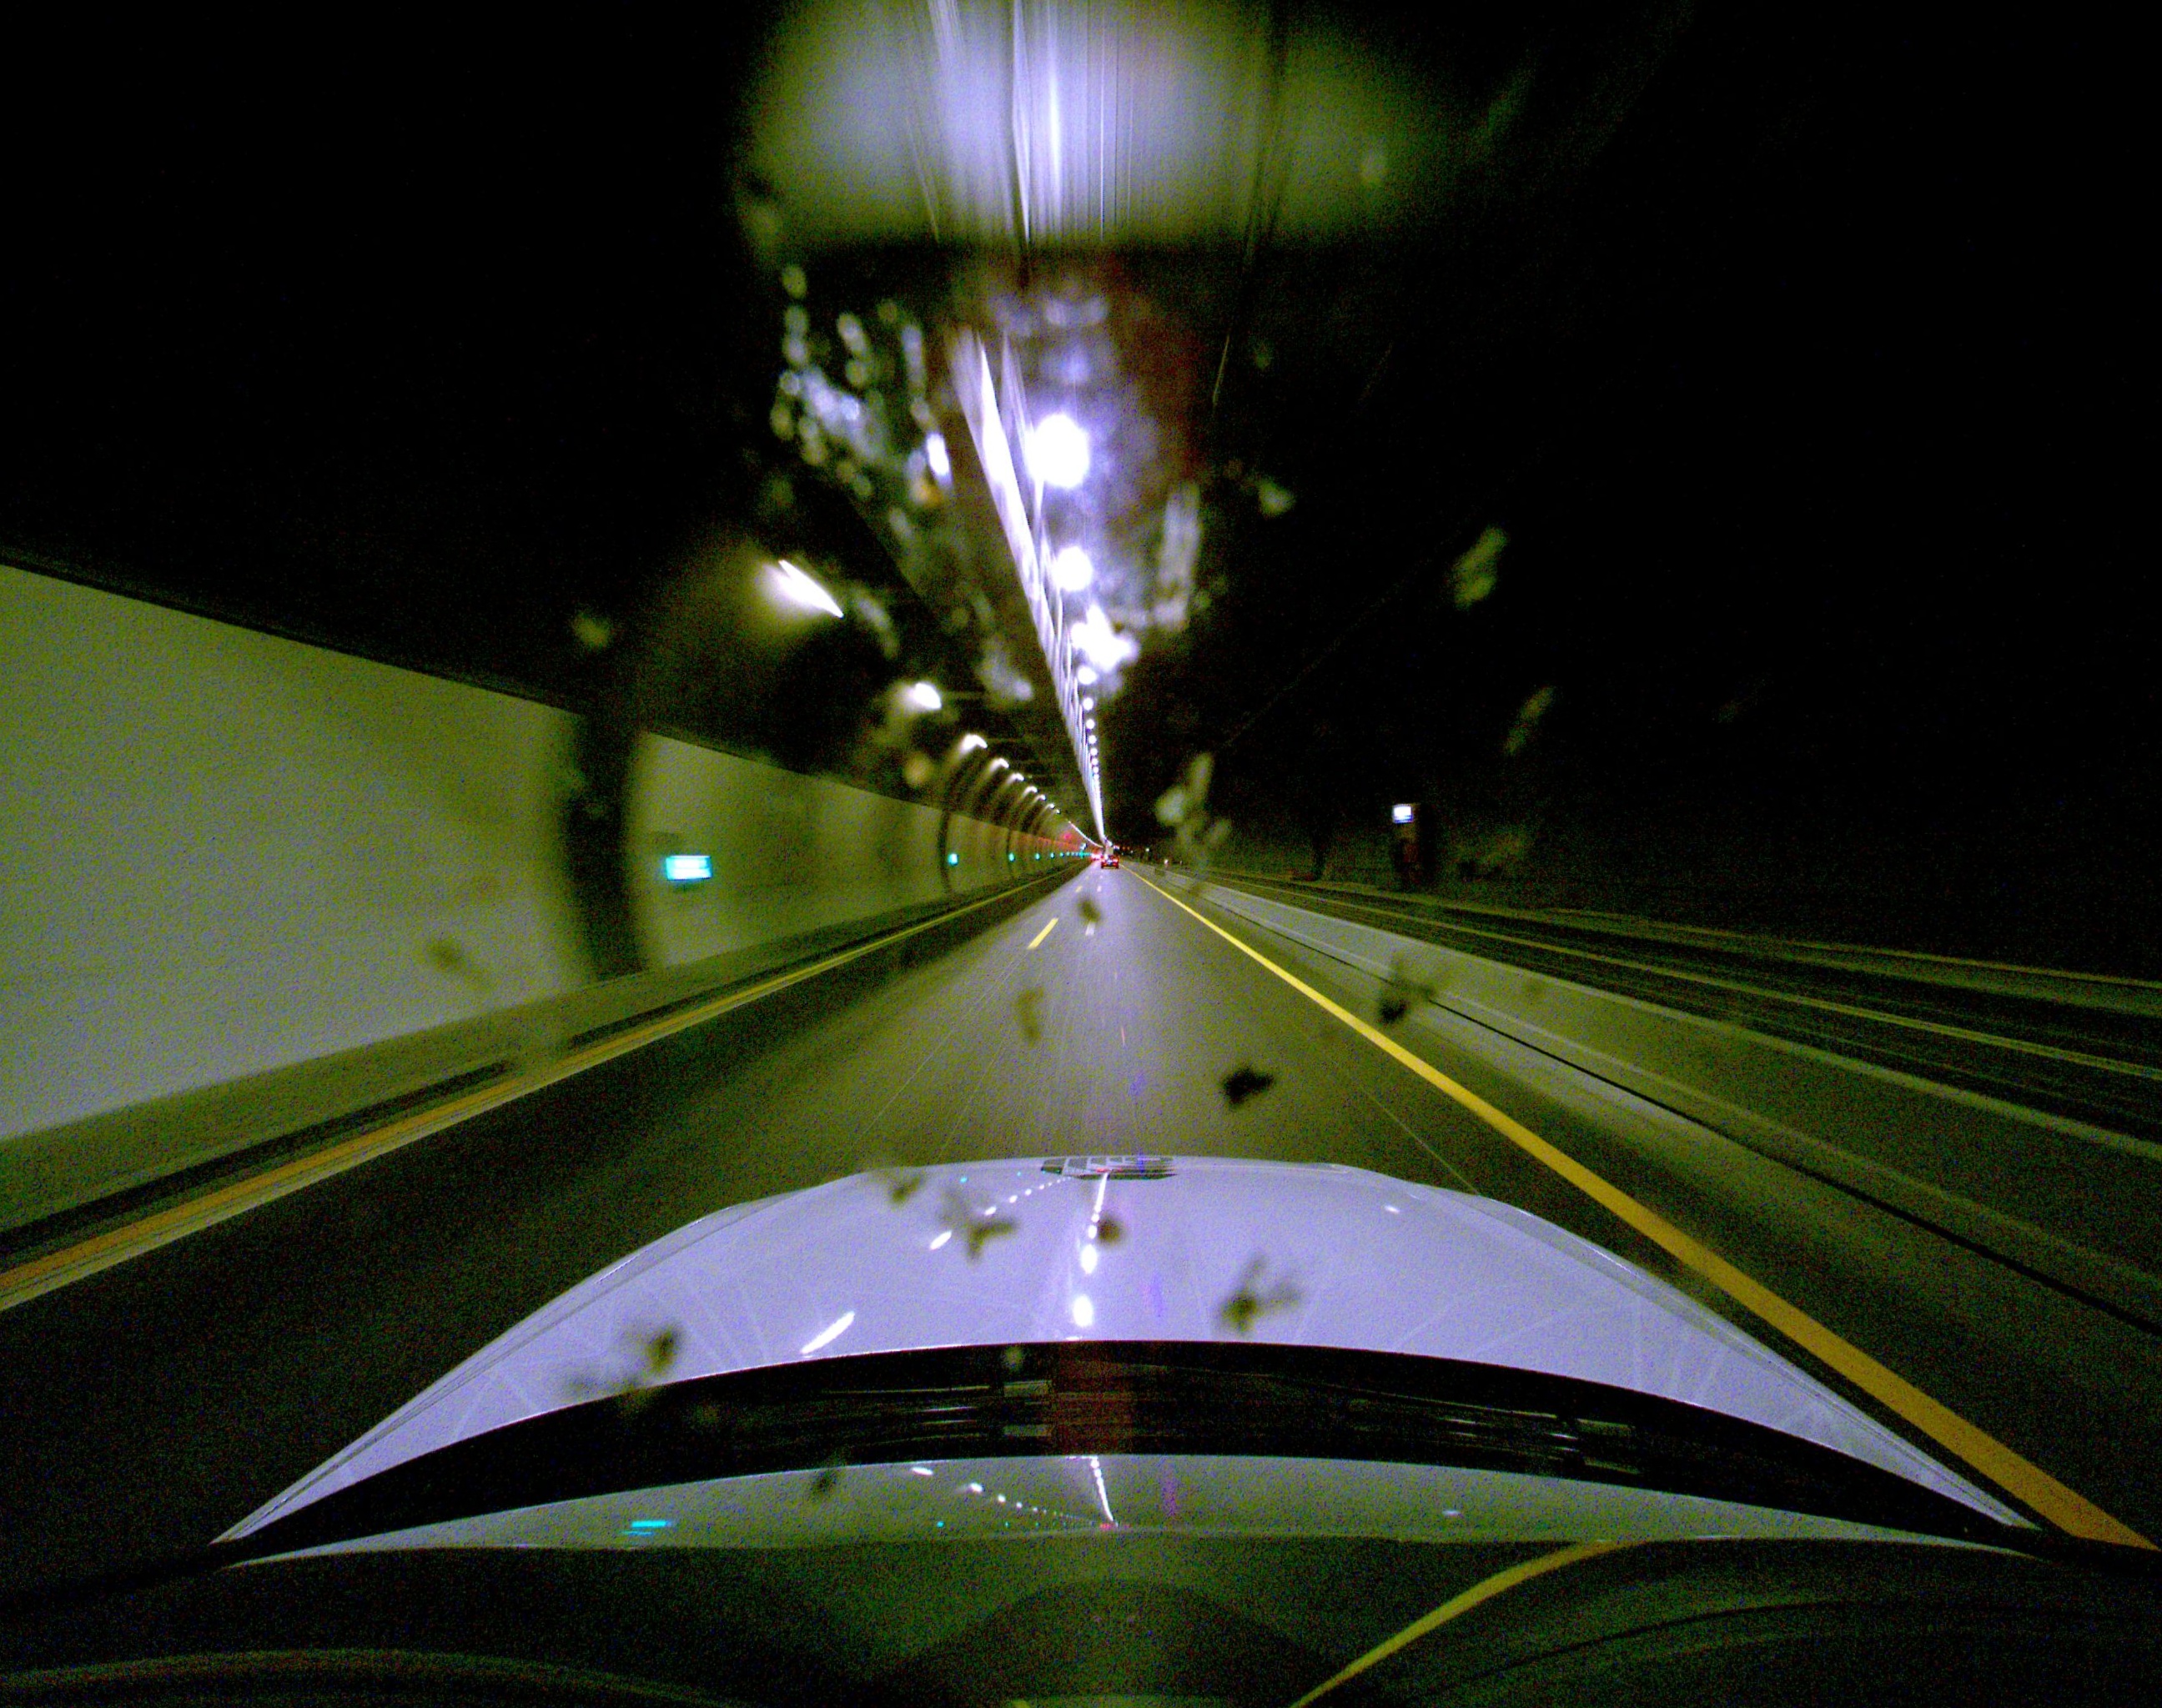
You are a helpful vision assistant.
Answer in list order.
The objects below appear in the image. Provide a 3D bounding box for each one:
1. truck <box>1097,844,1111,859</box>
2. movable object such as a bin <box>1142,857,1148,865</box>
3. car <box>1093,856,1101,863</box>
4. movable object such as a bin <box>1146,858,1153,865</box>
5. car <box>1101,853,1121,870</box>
[{"bbox_3d":[7.404,-0.762,260.654,4.051,4.532,14.971,0,0,2],"label":"truck"},{"bbox_3d":[14.040,1.580,178.244,1.230,1.718,2.217,2,0,1],"label":"movable object such as a bin"},{"bbox_3d":[3.769,1.260,196.790,1.924,1.687,4.000,0,0,1],"label":"car"},{"bbox_3d":[13.969,1.492,166.515,1.230,1.442,2.217,2,0,1],"label":"movable object such as a bin"},{"bbox_3d":[3.115,0.766,86.247,1.941,1.794,3.999,0,0,0],"label":"car"}]
